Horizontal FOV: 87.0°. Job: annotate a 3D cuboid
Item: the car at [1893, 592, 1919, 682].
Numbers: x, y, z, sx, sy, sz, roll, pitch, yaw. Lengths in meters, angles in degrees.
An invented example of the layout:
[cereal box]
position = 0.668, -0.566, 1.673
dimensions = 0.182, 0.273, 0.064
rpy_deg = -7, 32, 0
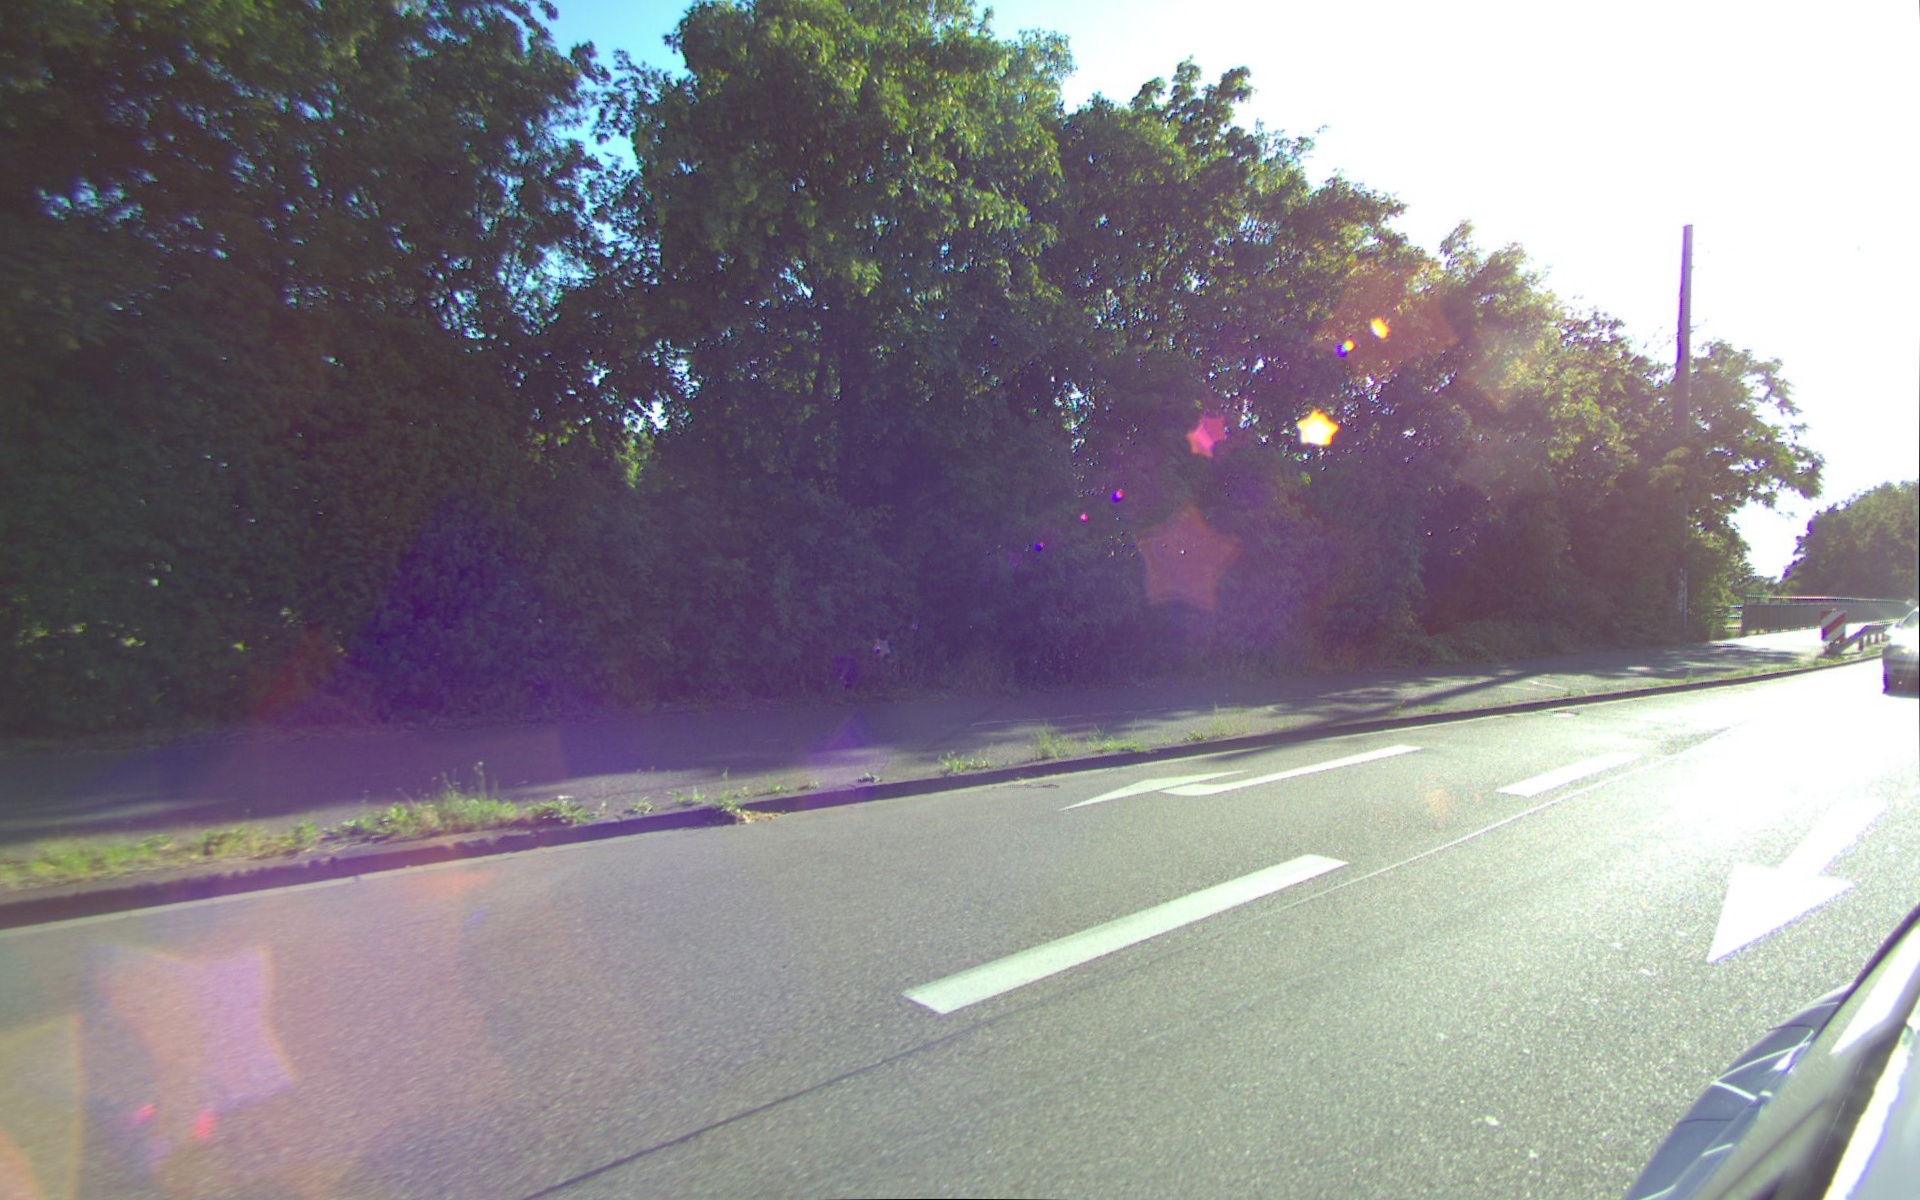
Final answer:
[car]
position = 17.411, 0.601, 17.356
dimensions = 4.064, 1.435, 1.691
rpy_deg = -1, 1, -42
